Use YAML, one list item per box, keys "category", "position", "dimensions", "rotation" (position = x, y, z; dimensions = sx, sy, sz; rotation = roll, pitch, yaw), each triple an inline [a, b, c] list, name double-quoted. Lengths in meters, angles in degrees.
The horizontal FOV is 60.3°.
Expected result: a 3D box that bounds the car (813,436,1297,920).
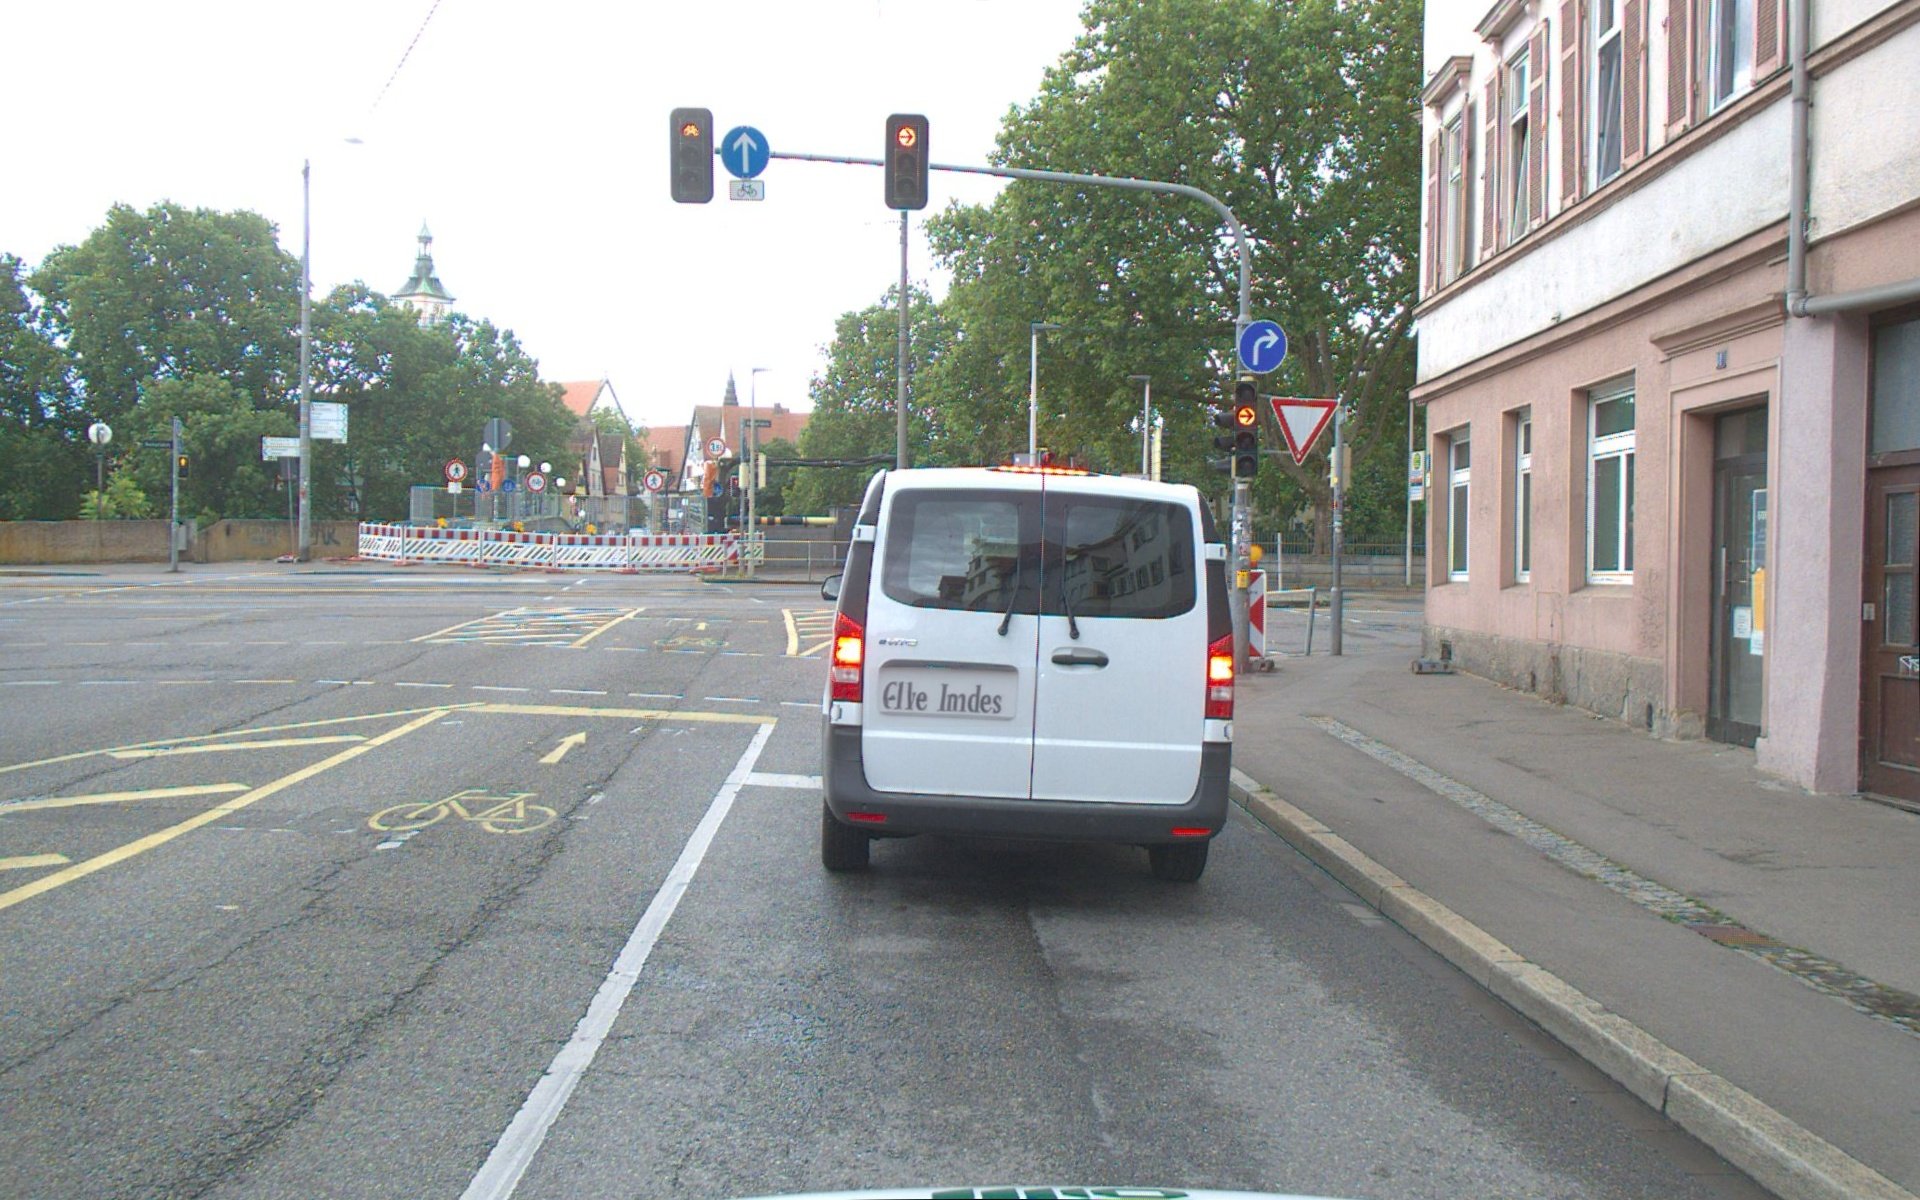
- category: "car"
  position: [0.221, 0.231, 8.933]
  dimensions: [1.955, 1.956, 4.246]
  rotation: [2, 3, -5]
